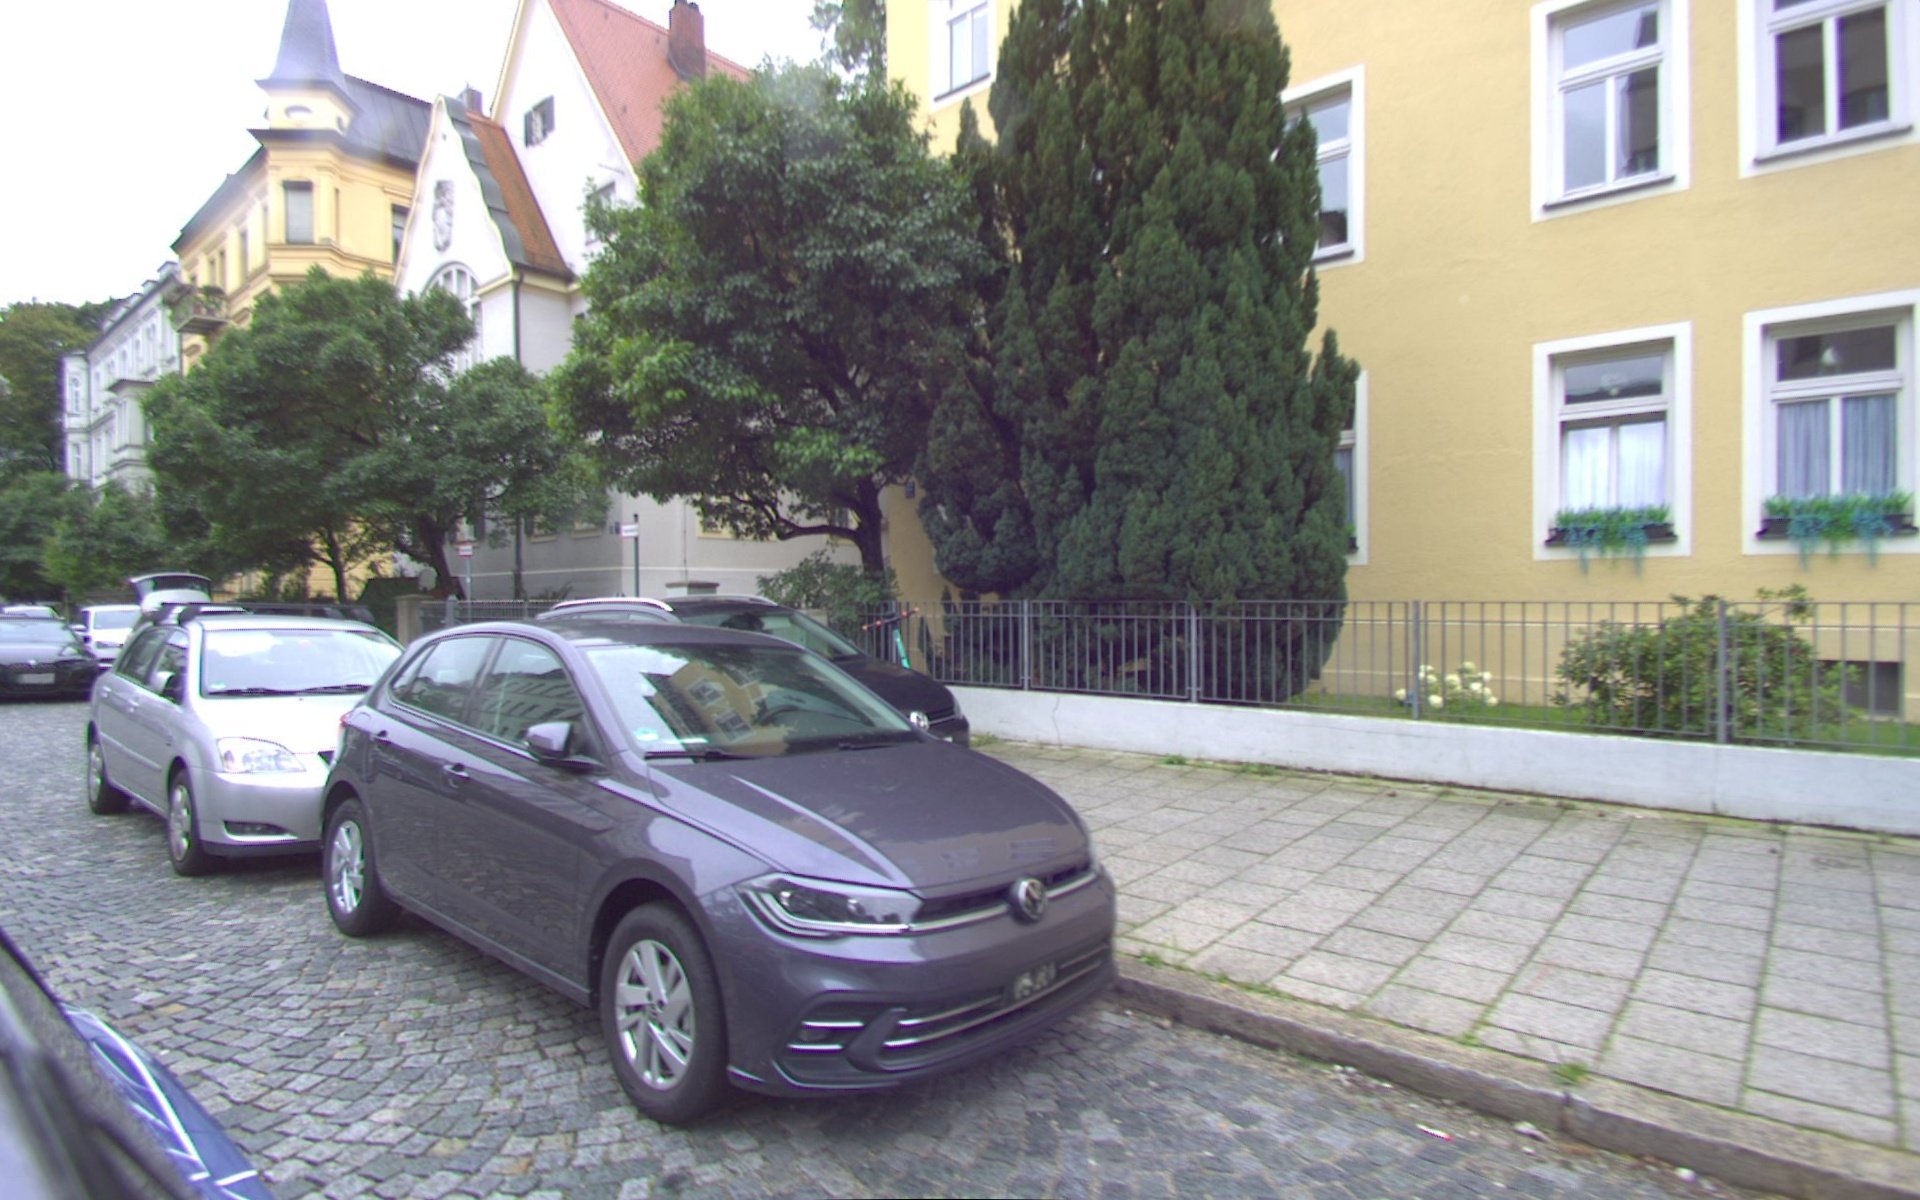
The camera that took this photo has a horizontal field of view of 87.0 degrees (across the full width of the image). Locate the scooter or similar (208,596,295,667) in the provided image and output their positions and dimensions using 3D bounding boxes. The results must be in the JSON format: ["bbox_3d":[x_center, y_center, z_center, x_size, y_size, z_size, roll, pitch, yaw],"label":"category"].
[{"bbox_3d":[-16.285,0.705,23.220,2.634,1.534,1.051,-1,0,41],"label":"scooter or similar"}]

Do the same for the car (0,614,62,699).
[{"bbox_3d":[-20.129,1.110,20.921,4.534,1.615,1.722,-1,-1,41],"label":"car"}]

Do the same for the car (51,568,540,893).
[{"bbox_3d":[-4.786,0.666,7.005,4.388,1.574,1.696,-1,-2,41],"label":"car"}]

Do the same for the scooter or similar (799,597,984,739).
[{"bbox_3d":[-0.674,0.608,9.806,1.522,1.209,0.946,-1,3,41],"label":"scooter or similar"}]

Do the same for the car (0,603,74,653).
[{"bbox_3d":[-31.000,0.894,33.564,4.387,1.477,1.823,-1,1,41],"label":"car"}]

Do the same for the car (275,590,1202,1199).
[{"bbox_3d":[-1.195,0.733,4.151,3.934,1.429,1.712,-1,-2,41],"label":"car"}]

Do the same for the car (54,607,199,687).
[{"bbox_3d":[-18.758,0.977,22.697,4.464,1.547,1.722,-1,2,41],"label":"car"}]

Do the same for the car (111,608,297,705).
[{"bbox_3d":[-13.447,0.906,17.899,4.560,1.427,1.757,-1,2,42],"label":"car"}]

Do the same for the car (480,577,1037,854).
[{"bbox_3d":[-1.820,0.659,7.907,4.719,1.508,1.698,-1,2,41],"label":"car"}]

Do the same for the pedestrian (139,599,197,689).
[{"bbox_3d":[-15.101,0.819,19.302,0.582,1.662,0.758,-1,1,42],"label":"pedestrian"}]

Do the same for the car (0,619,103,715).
[{"bbox_3d":[-16.460,1.068,17.534,4.911,1.466,1.795,-1,-2,42],"label":"car"}]
